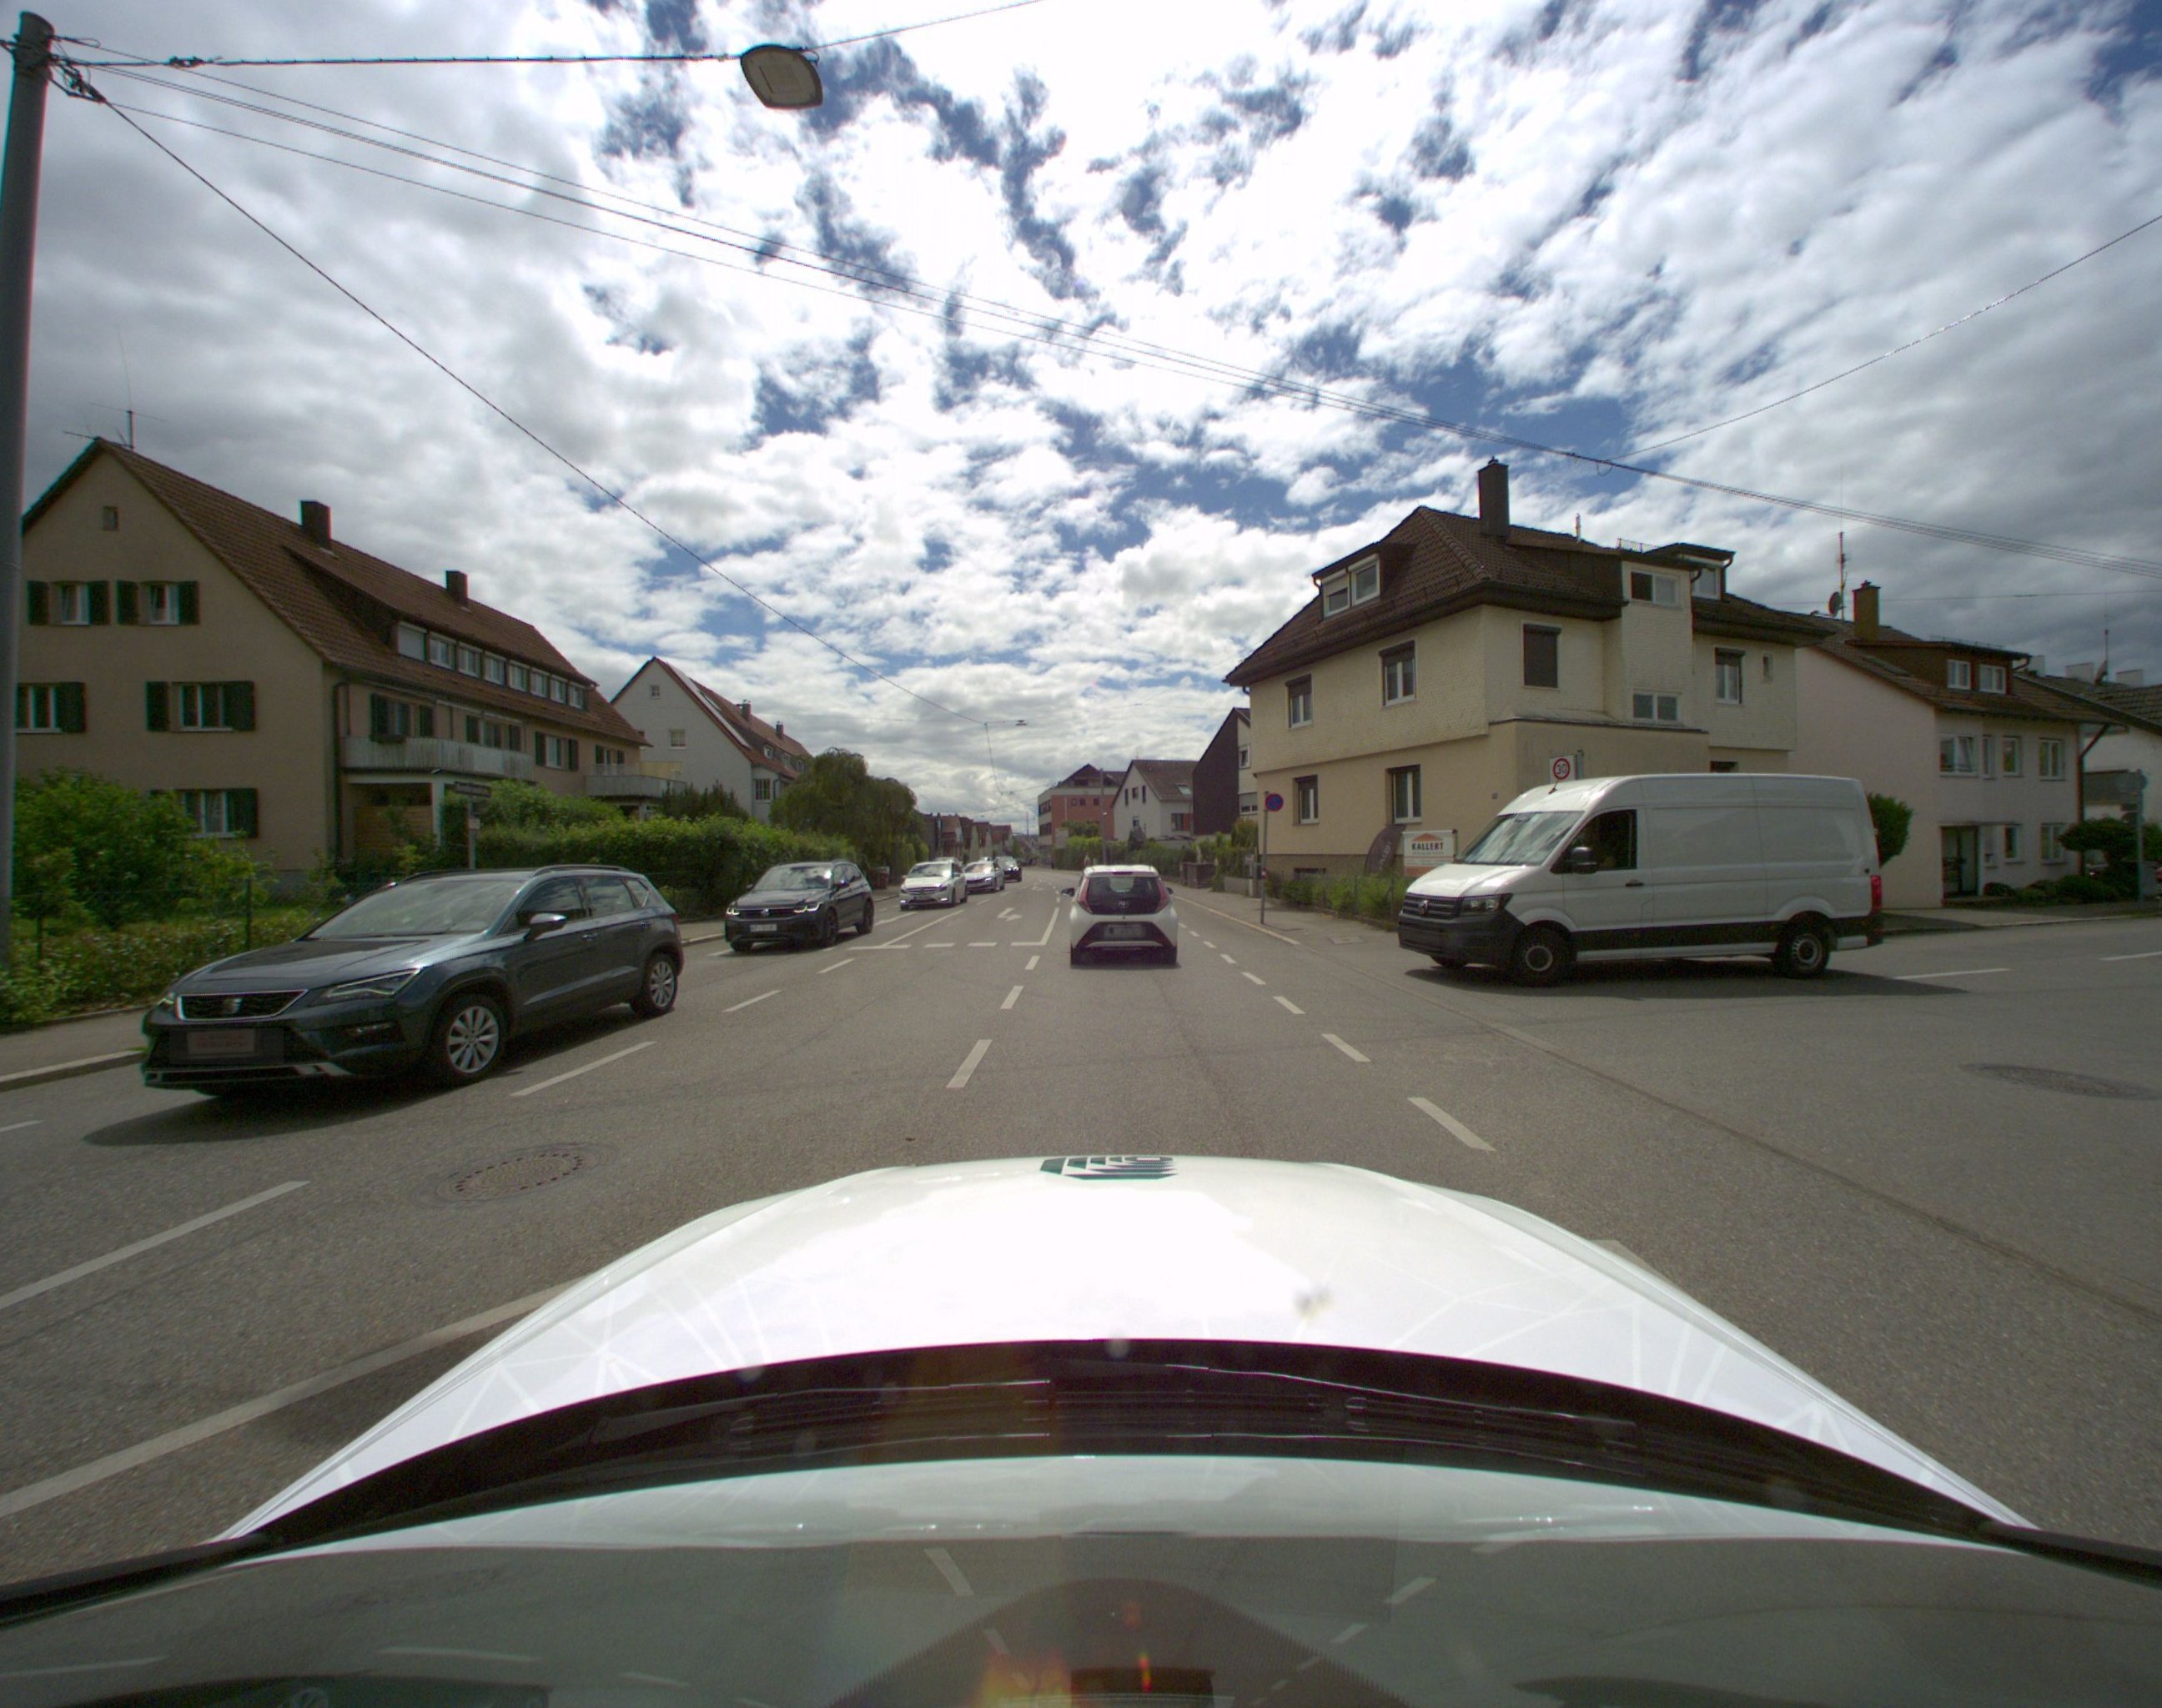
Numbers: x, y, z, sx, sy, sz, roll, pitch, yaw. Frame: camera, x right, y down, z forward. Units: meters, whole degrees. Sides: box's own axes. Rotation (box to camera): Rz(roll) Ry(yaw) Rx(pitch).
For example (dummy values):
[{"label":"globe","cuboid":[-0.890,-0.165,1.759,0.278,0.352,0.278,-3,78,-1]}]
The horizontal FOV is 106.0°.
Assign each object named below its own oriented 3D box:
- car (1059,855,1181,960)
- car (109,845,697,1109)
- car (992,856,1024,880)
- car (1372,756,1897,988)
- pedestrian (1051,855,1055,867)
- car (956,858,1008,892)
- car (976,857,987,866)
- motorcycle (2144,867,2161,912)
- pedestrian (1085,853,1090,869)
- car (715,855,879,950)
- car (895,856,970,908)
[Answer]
[{"label":"car","cuboid":[0.515,0.772,13.716,1.618,1.486,3.995,0,0,-4]},{"label":"car","cuboid":[-5.239,0.799,7.171,1.769,1.603,4.038,-2,-1,0]},{"label":"car","cuboid":[-4.719,0.903,53.118,1.770,1.430,4.006,-2,0,-1]},{"label":"car","cuboid":[7.083,0.140,10.616,5.996,2.581,1.993,-1,0,-10]},{"label":"pedestrian","cuboid":[-3.244,0.788,94.374,0.413,1.438,0.436,0,0,-7]},{"label":"car","cuboid":[-4.628,0.947,38.657,1.769,1.430,4.522,-4,0,0]},{"label":"car","cuboid":[-19.907,1.445,163.057,1.991,1.684,3.991,1,0,-6]},{"label":"motorcycle","cuboid":[28.610,0.898,21.038,1.753,1.158,0.530,-1,-1,-6]},{"label":"pedestrian","cuboid":[0.579,0.635,74.169,0.413,1.438,0.436,0,0,-12]},{"label":"car","cuboid":[-5.517,0.858,16.429,1.769,1.603,4.168,-3,0,0]},{"label":"car","cuboid":[-5.015,0.894,28.041,1.769,1.561,4.168,-3,0,0]}]
